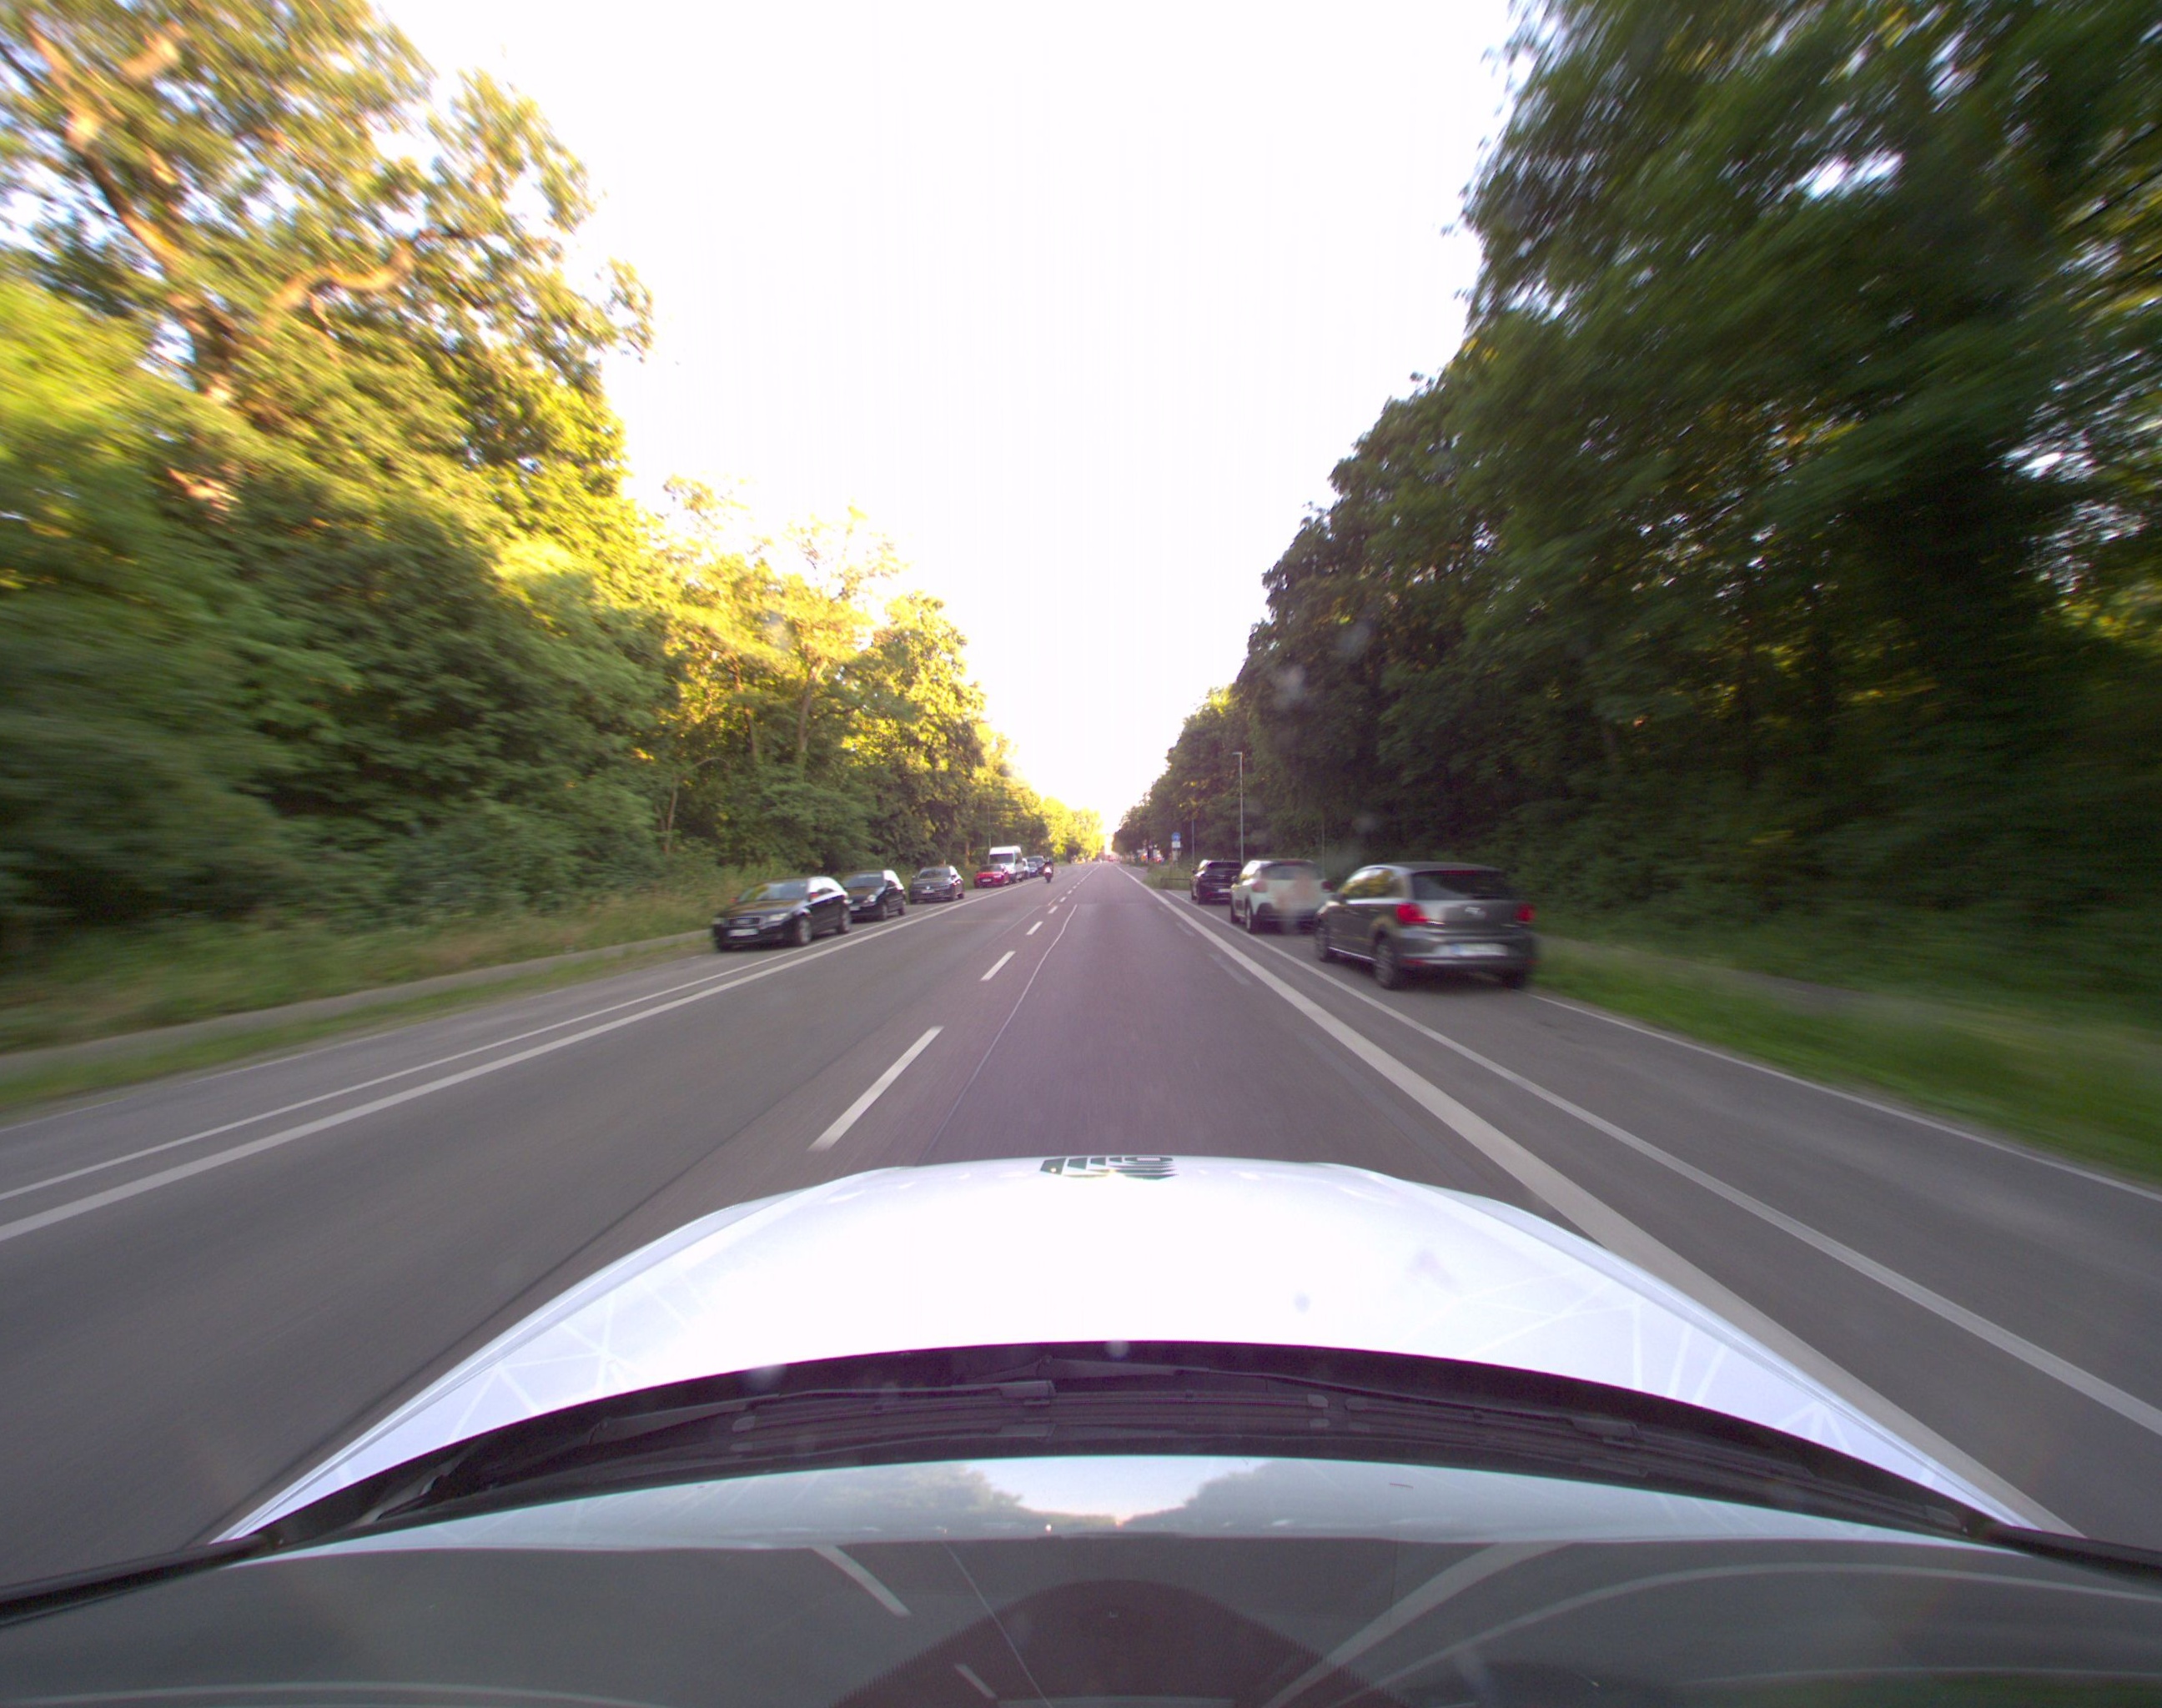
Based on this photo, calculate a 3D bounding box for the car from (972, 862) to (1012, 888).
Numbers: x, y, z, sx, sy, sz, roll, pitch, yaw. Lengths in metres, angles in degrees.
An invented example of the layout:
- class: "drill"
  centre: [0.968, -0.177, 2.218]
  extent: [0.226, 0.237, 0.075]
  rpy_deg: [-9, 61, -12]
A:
- class: "car"
  centre: [-5.459, 1.281, 50.371]
  extent: [1.709, 1.430, 4.391]
  rpy_deg: [-3, -1, 3]

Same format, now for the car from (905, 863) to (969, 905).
- class: "car"
  centre: [-5.900, 1.189, 33.817]
  extent: [1.840, 1.462, 4.228]
  rpy_deg: [-4, 0, -1]

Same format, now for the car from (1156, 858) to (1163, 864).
- class: "car"
  centre: [21.252, 1.933, 221.222]
  extent: [1.761, 1.583, 4.826]
  rpy_deg: [0, -1, 6]

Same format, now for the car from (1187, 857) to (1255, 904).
- class: "car"
  centre: [4.626, 0.826, 27.426]
  extent: [1.704, 1.444, 4.124]
  rpy_deg: [-1, 0, 2]

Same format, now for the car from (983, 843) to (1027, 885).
- class: "car"
  centre: [-5.258, 0.679, 57.679]
  extent: [2.071, 2.606, 7.091]
  rpy_deg: [-4, -1, 2]

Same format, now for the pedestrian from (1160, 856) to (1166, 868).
- class: "pedestrian"
  centre: [11.741, 1.140, 116.852]
  extent: [0.835, 1.751, 0.726]
  rpy_deg: [-1, -1, 2]

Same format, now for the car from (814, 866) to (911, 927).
- class: "car"
  centre: [-6.274, 1.164, 23.768]
  extent: [1.705, 1.508, 3.657]
  rpy_deg: [-3, 0, 1]

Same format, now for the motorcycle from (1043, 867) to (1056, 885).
- class: "motorcycle"
  centre: [-2.061, 1.423, 53.313]
  extent: [0.608, 1.127, 1.964]
  rpy_deg: [-2, 0, 4]

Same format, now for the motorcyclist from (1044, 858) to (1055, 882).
- class: "motorcyclist"
  centre: [-2.071, 1.025, 53.433]
  extent: [0.601, 1.529, 0.996]
  rpy_deg: [-2, -1, 4]

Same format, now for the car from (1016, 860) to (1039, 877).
- class: "car"
  centre: [-4.898, 1.279, 75.120]
  extent: [1.663, 1.433, 4.448]
  rpy_deg: [-3, -1, 2]

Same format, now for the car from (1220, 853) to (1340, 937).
- class: "car"
  centre: [4.136, 0.787, 17.556]
  extent: [1.682, 1.546, 4.114]
  rpy_deg: [-2, 0, 2]

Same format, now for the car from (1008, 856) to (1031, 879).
- class: "car"
  centre: [-5.270, 1.096, 70.168]
  extent: [1.682, 1.858, 4.385]
  rpy_deg: [-1, 0, -1]

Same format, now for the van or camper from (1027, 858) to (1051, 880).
- class: "van or camper"
  centre: [-4.184, 1.505, 81.732]
  extent: [1.996, 2.018, 5.460]
  rpy_deg: [-4, -1, 0]

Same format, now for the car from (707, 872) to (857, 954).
- class: "car"
  centre: [-6.213, 1.165, 17.446]
  extent: [1.592, 1.395, 4.052]
  rpy_deg: [-3, 0, 1]

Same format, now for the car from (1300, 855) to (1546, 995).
- class: "car"
  centre: [4.191, 0.768, 10.705]
  extent: [1.573, 1.446, 3.961]
  rpy_deg: [-2, 0, 1]

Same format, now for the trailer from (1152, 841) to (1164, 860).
- class: "trailer"
  centre: [22.195, -0.937, 234.597]
  extent: [3.008, 5.462, 7.939]
  rpy_deg: [-1, -1, 3]
